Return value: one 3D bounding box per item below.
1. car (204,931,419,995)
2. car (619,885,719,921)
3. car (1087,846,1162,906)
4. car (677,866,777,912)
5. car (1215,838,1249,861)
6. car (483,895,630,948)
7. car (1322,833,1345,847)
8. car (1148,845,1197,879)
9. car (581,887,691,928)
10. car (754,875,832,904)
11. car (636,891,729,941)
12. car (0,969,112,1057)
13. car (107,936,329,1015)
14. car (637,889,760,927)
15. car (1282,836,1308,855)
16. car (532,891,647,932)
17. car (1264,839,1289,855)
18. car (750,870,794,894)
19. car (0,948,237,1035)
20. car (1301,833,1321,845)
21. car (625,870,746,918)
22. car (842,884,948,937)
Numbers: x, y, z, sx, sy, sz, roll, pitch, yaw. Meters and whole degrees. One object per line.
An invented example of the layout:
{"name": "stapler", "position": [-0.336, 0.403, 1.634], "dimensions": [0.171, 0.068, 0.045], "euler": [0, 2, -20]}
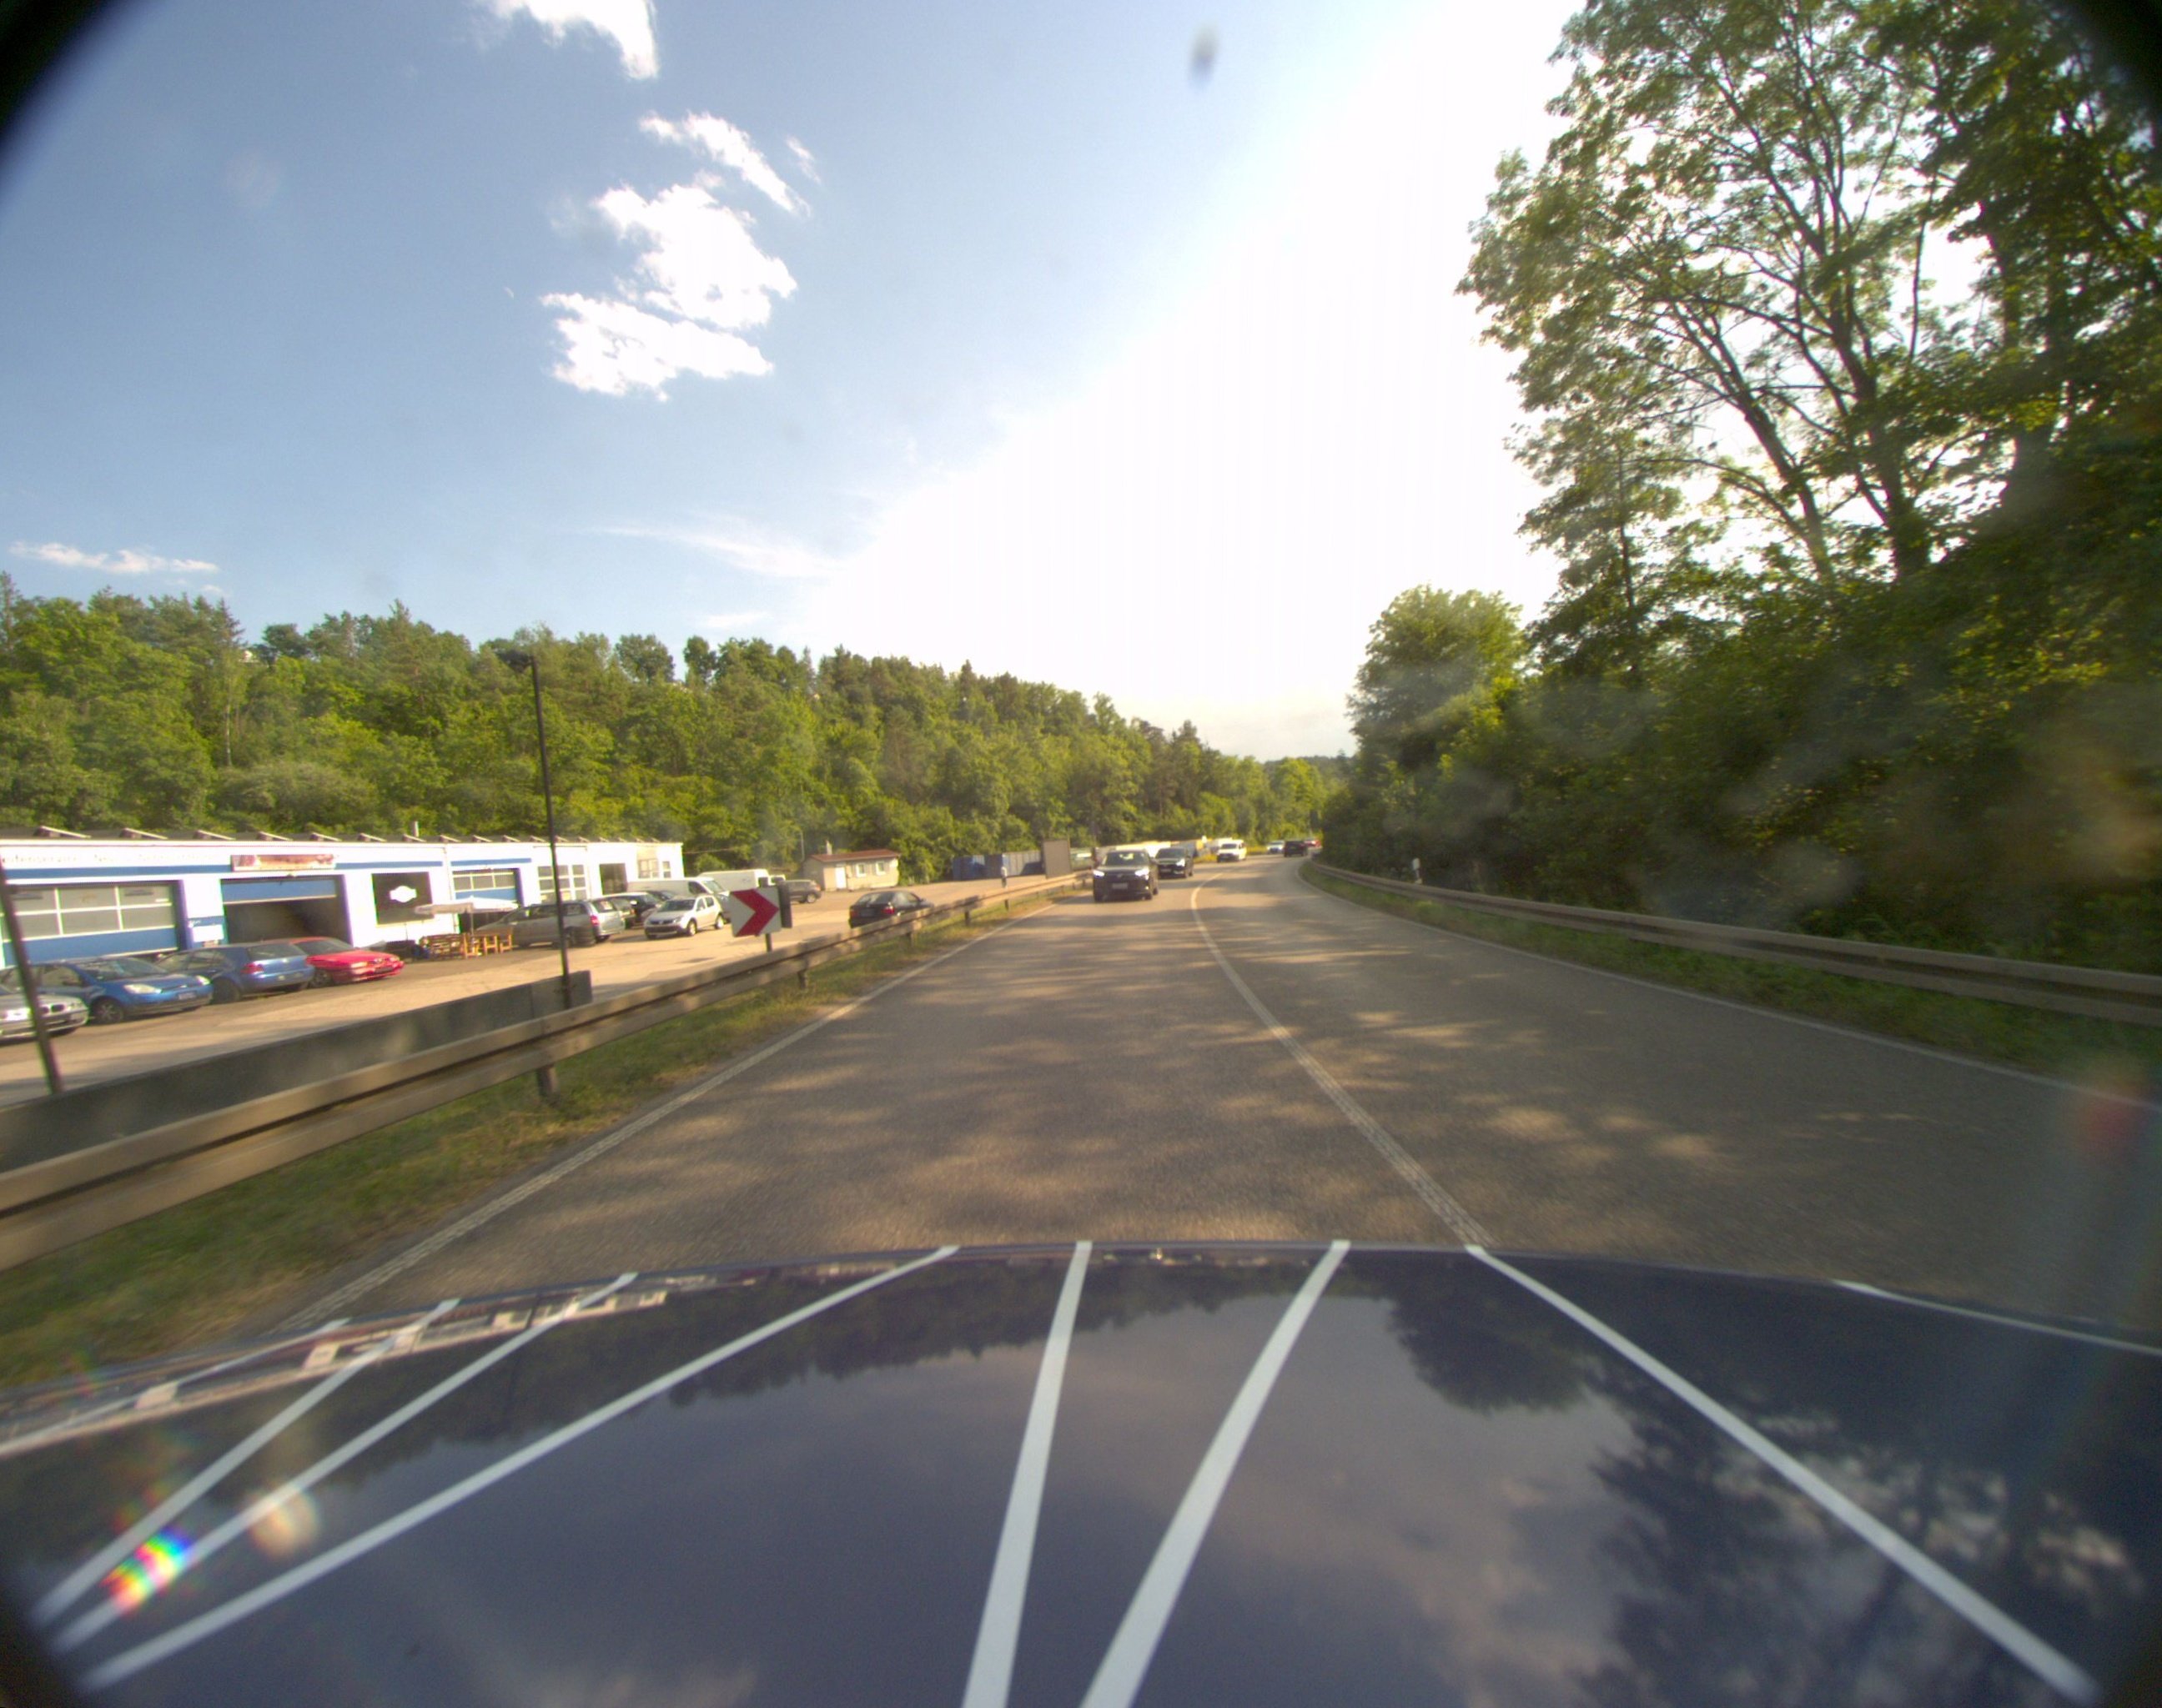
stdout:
{"name": "car", "position": [-21.578, 3.039, 21.432], "dimensions": [4.077, 1.340, 1.895], "euler": [-3, 1, 0]}
{"name": "car", "position": [-21.765, 2.558, 40.218], "dimensions": [4.169, 1.601, 1.924], "euler": [-2, 1, 0]}
{"name": "car", "position": [1.531, 0.652, 25.090], "dimensions": [1.858, 1.631, 4.443], "euler": [-3, 1, 10]}
{"name": "car", "position": [-21.491, 2.084, 46.325], "dimensions": [4.920, 2.435, 2.207], "euler": [-3, 1, -1]}
{"name": "car", "position": [12.784, -0.404, 64.122], "dimensions": [1.865, 1.710, 4.769], "euler": [-4, 0, 22]}
{"name": "car", "position": [-20.190, 2.579, 29.402], "dimensions": [4.259, 1.719, 1.891], "euler": [-2, 1, -2]}
{"name": "car", "position": [29.941, -1.689, 90.120], "dimensions": [1.851, 1.499, 4.411], "euler": [-1, 1, 28]}
{"name": "car", "position": [4.806, 0.381, 39.569], "dimensions": [1.846, 1.561, 4.261], "euler": [-2, 1, 16]}
{"name": "car", "position": [-22.060, 2.637, 37.756], "dimensions": [4.251, 1.601, 1.895], "euler": [-3, 1, 0]}
{"name": "car", "position": [-19.274, 2.364, 50.857], "dimensions": [4.413, 1.660, 1.938], "euler": [-2, -1, -40]}
{"name": "car", "position": [-16.079, 2.459, 30.916], "dimensions": [1.795, 1.587, 3.987], "euler": [-3, 1, -3]}
{"name": "car", "position": [-21.748, 3.133, 14.493], "dimensions": [3.968, 1.347, 1.776], "euler": [-3, 1, -3]}
{"name": "car", "position": [-21.793, 3.046, 19.307], "dimensions": [3.553, 1.437, 1.734], "euler": [-5, 1, 1]}
{"name": "car", "position": [-17.922, 2.515, 35.762], "dimensions": [4.732, 1.425, 1.957], "euler": [-2, 1, -1]}
{"name": "car", "position": [19.857, -0.812, 70.439], "dimensions": [1.869, 1.580, 4.254], "euler": [-1, 1, 21]}
{"name": "car", "position": [-22.727, 2.639, 35.238], "dimensions": [3.997, 1.601, 1.895], "euler": [-2, 1, 0]}
{"name": "car", "position": [21.854, -0.811, 84.755], "dimensions": [1.894, 1.437, 4.482], "euler": [-4, 0, 25]}
{"name": "car", "position": [-29.786, 2.689, 73.159], "dimensions": [4.548, 2.002, 2.003], "euler": [-4, 1, 43]}
{"name": "car", "position": [-21.744, 3.058, 17.079], "dimensions": [3.559, 1.398, 1.691], "euler": [-4, 1, 1]}
{"name": "car", "position": [32.531, -2.177, 107.222], "dimensions": [1.857, 1.412, 4.425], "euler": [-5, 0, 27]}
{"name": "car", "position": [-22.039, 2.215, 42.516], "dimensions": [5.487, 2.261, 2.295], "euler": [-3, 1, 0]}
{"name": "car", "position": [-6.242, 1.883, 26.047], "dimensions": [1.827, 1.345, 4.275], "euler": [-4, 0, 10]}
